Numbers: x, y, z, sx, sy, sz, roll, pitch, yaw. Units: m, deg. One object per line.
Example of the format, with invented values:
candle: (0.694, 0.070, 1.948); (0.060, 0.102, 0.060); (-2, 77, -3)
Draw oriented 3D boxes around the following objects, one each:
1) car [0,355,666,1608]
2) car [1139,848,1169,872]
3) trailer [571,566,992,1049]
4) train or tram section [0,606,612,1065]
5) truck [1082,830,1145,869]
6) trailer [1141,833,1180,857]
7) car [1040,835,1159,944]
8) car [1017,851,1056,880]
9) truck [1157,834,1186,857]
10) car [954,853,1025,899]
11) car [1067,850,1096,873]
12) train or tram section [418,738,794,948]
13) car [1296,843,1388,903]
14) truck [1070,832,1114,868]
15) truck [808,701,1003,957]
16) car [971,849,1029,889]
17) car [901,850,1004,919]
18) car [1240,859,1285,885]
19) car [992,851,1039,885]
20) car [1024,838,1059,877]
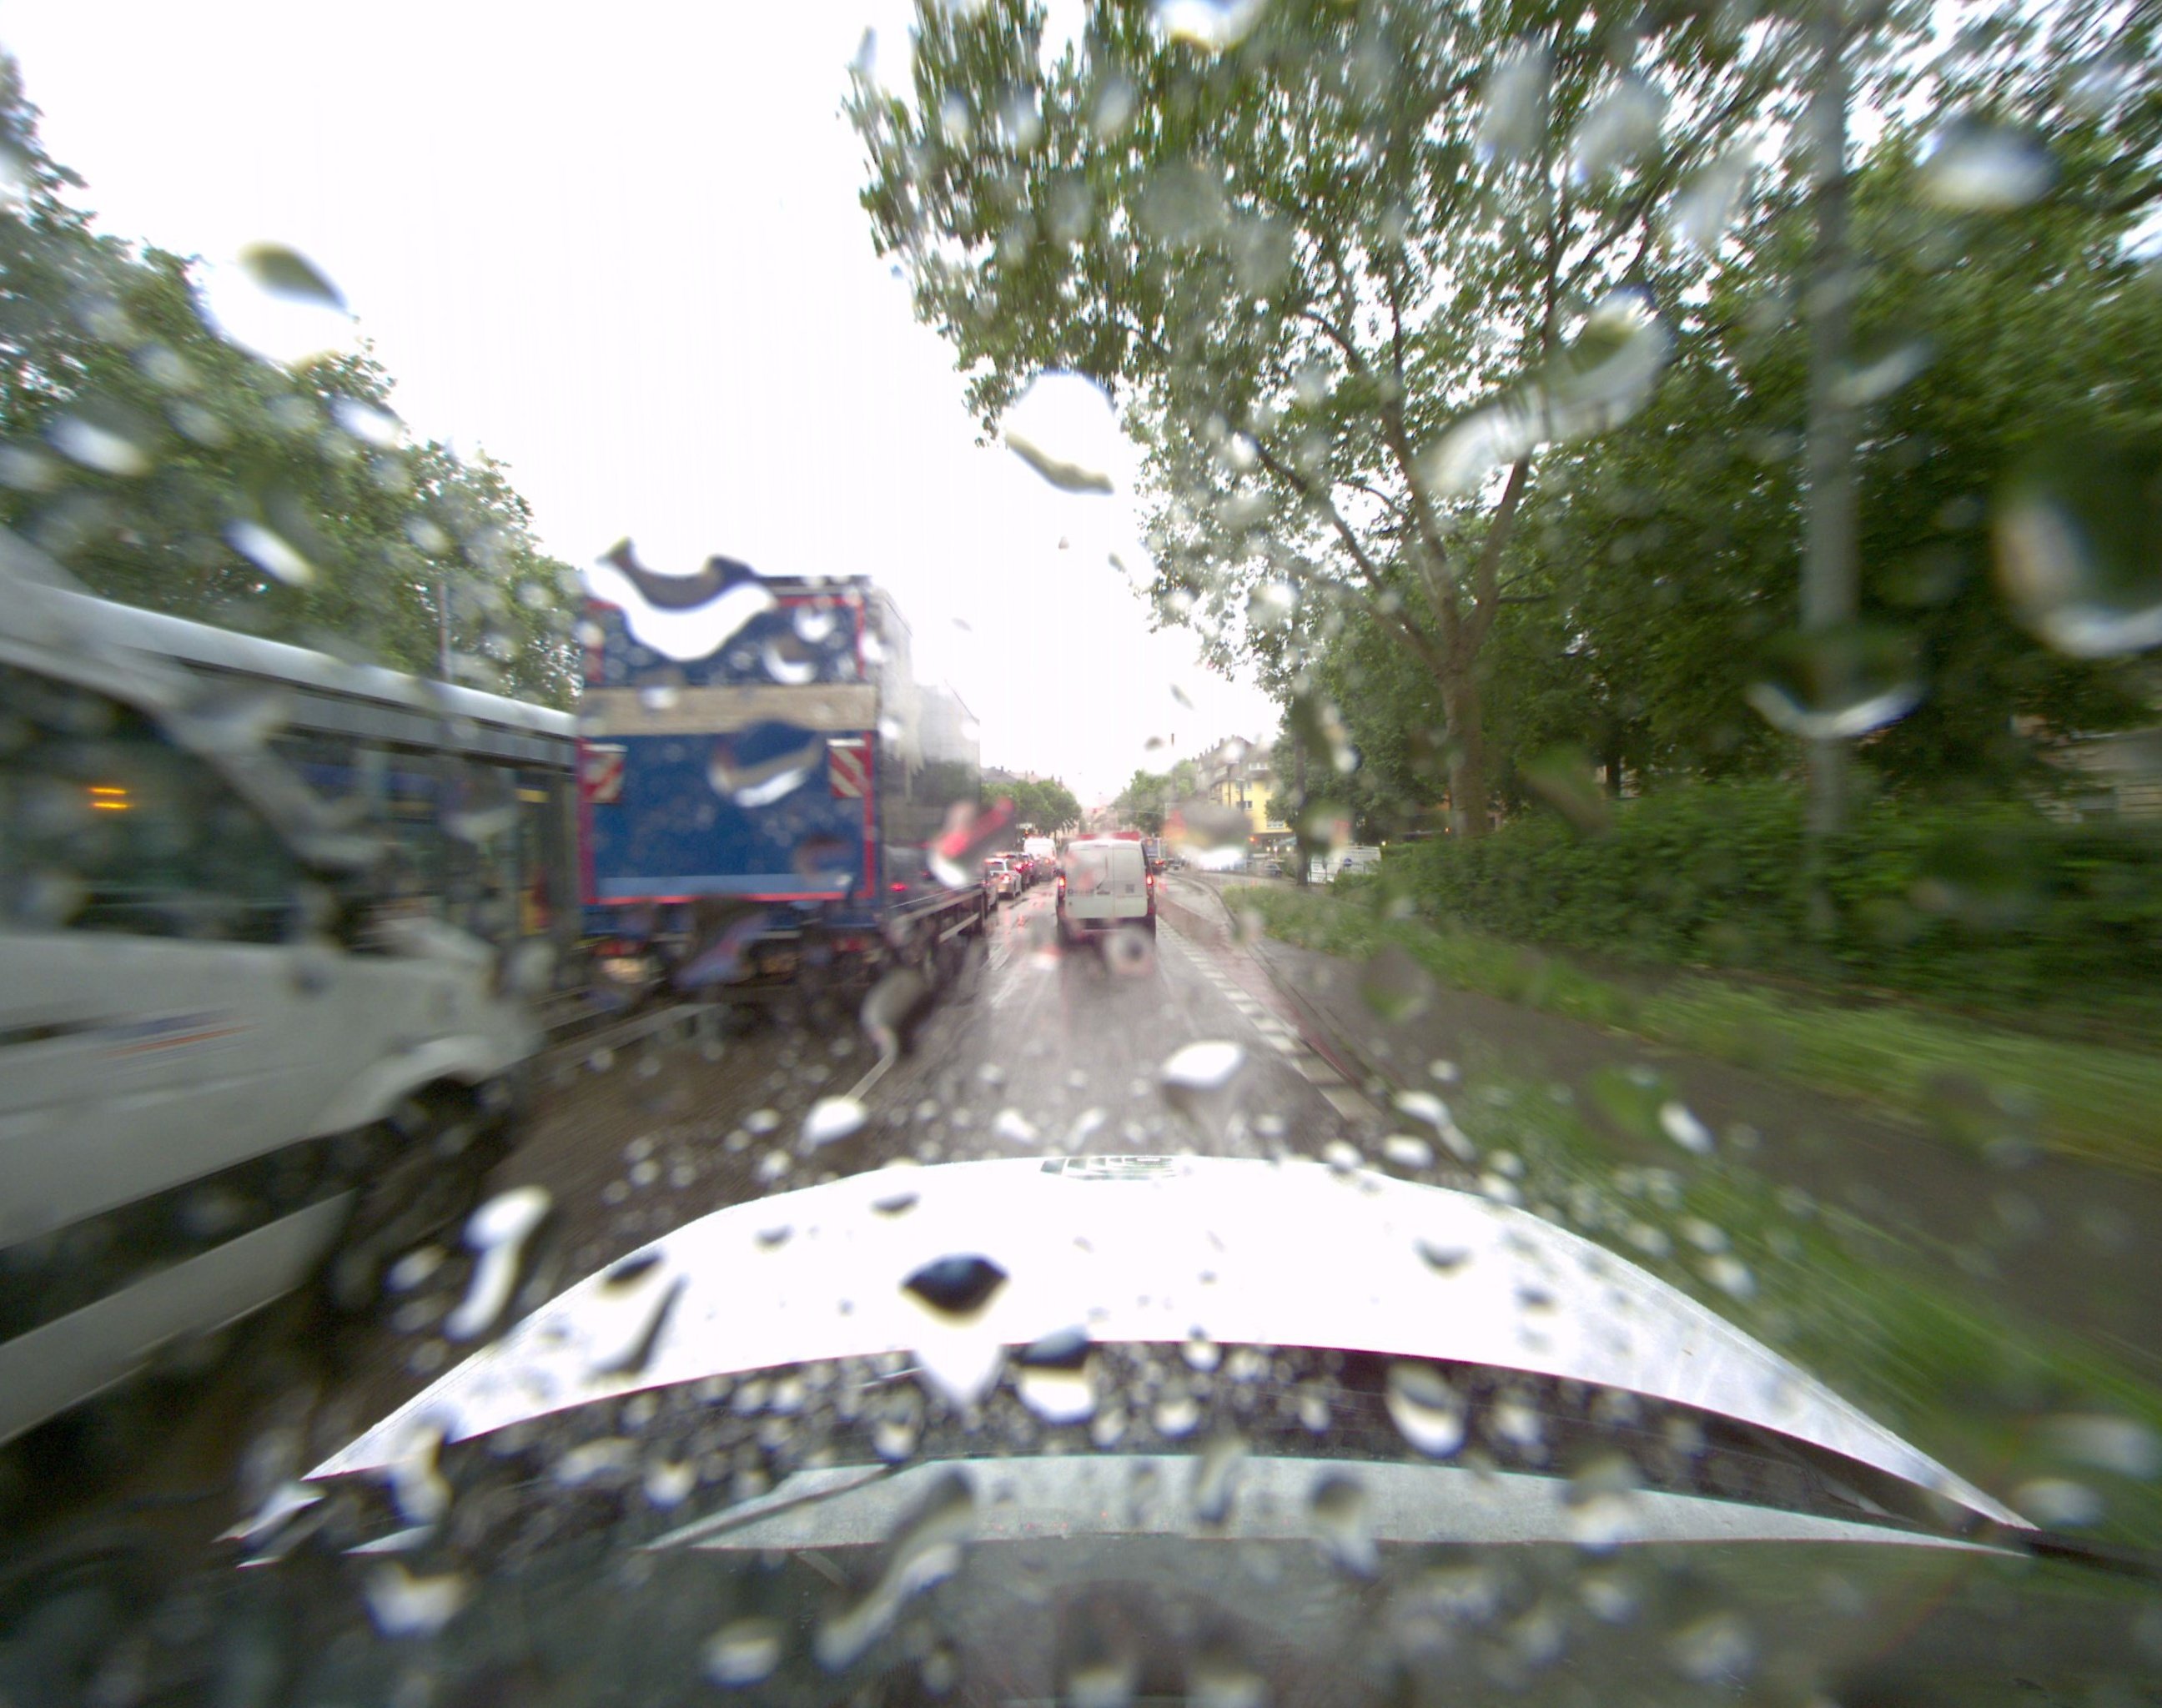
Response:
car: (-3.379, 0.260, 1.187); (2.321, 2.557, 6.114); (-1, -1, 1)
car: (5.128, 0.416, 57.548); (1.984, 1.542, 4.005); (-1, 0, 5)
trailer: (-2.847, -0.394, 10.447); (2.582, 3.899, 7.634); (-1, 0, 0)
train or tram section: (-9.200, -0.119, 9.081); (2.952, 3.285, 8.359); (-3, 1, 0)
truck: (4.262, -0.567, 111.178); (3.296, 4.899, 11.301); (-3, 1, -26)
trailer: (8.144, -0.891, 83.474); (1.974, 2.317, 4.698); (-2, -1, 33)
car: (0.326, 0.618, 15.358); (1.952, 1.777, 3.569); (-1, -1, 0)
car: (-2.534, 0.650, 47.583); (1.987, 1.578, 4.292); (0, 0, 0)
truck: (9.465, -0.876, 85.374); (1.974, 2.299, 2.665); (-2, -1, 33)
car: (-3.176, 0.728, 29.043); (1.987, 1.472, 4.266); (0, 1, 0)
car: (0.067, 0.523, 54.520); (1.753, 1.469, 3.536); (-1, -1, 3)
train or tram section: (-9.216, -0.232, 17.483); (2.970, 3.285, 8.429); (-3, 1, 0)
car: (12.067, 0.786, 38.113); (2.174, 2.532, 5.773); (-3, 1, -2)
truck: (1.483, -0.512, 116.950); (3.296, 4.899, 7.118); (-3, 1, -27)
truck: (-2.883, -0.402, 14.537); (2.573, 3.904, 3.999); (-1, 0, -1)
car: (-3.404, 0.620, 34.943); (1.987, 1.578, 4.292); (0, 0, 0)
car: (-3.283, 0.727, 21.674); (1.987, 1.537, 4.133); (-3, 1, 0)
car: (11.647, 1.124, 52.514); (1.817, 1.490, 4.351); (-3, 1, -1)
car: (-3.221, 0.673, 40.917); (1.987, 1.578, 4.292); (0, 0, 0)
car: (-2.534, 0.232, 53.106); (1.987, 2.442, 4.612); (0, 0, 0)
